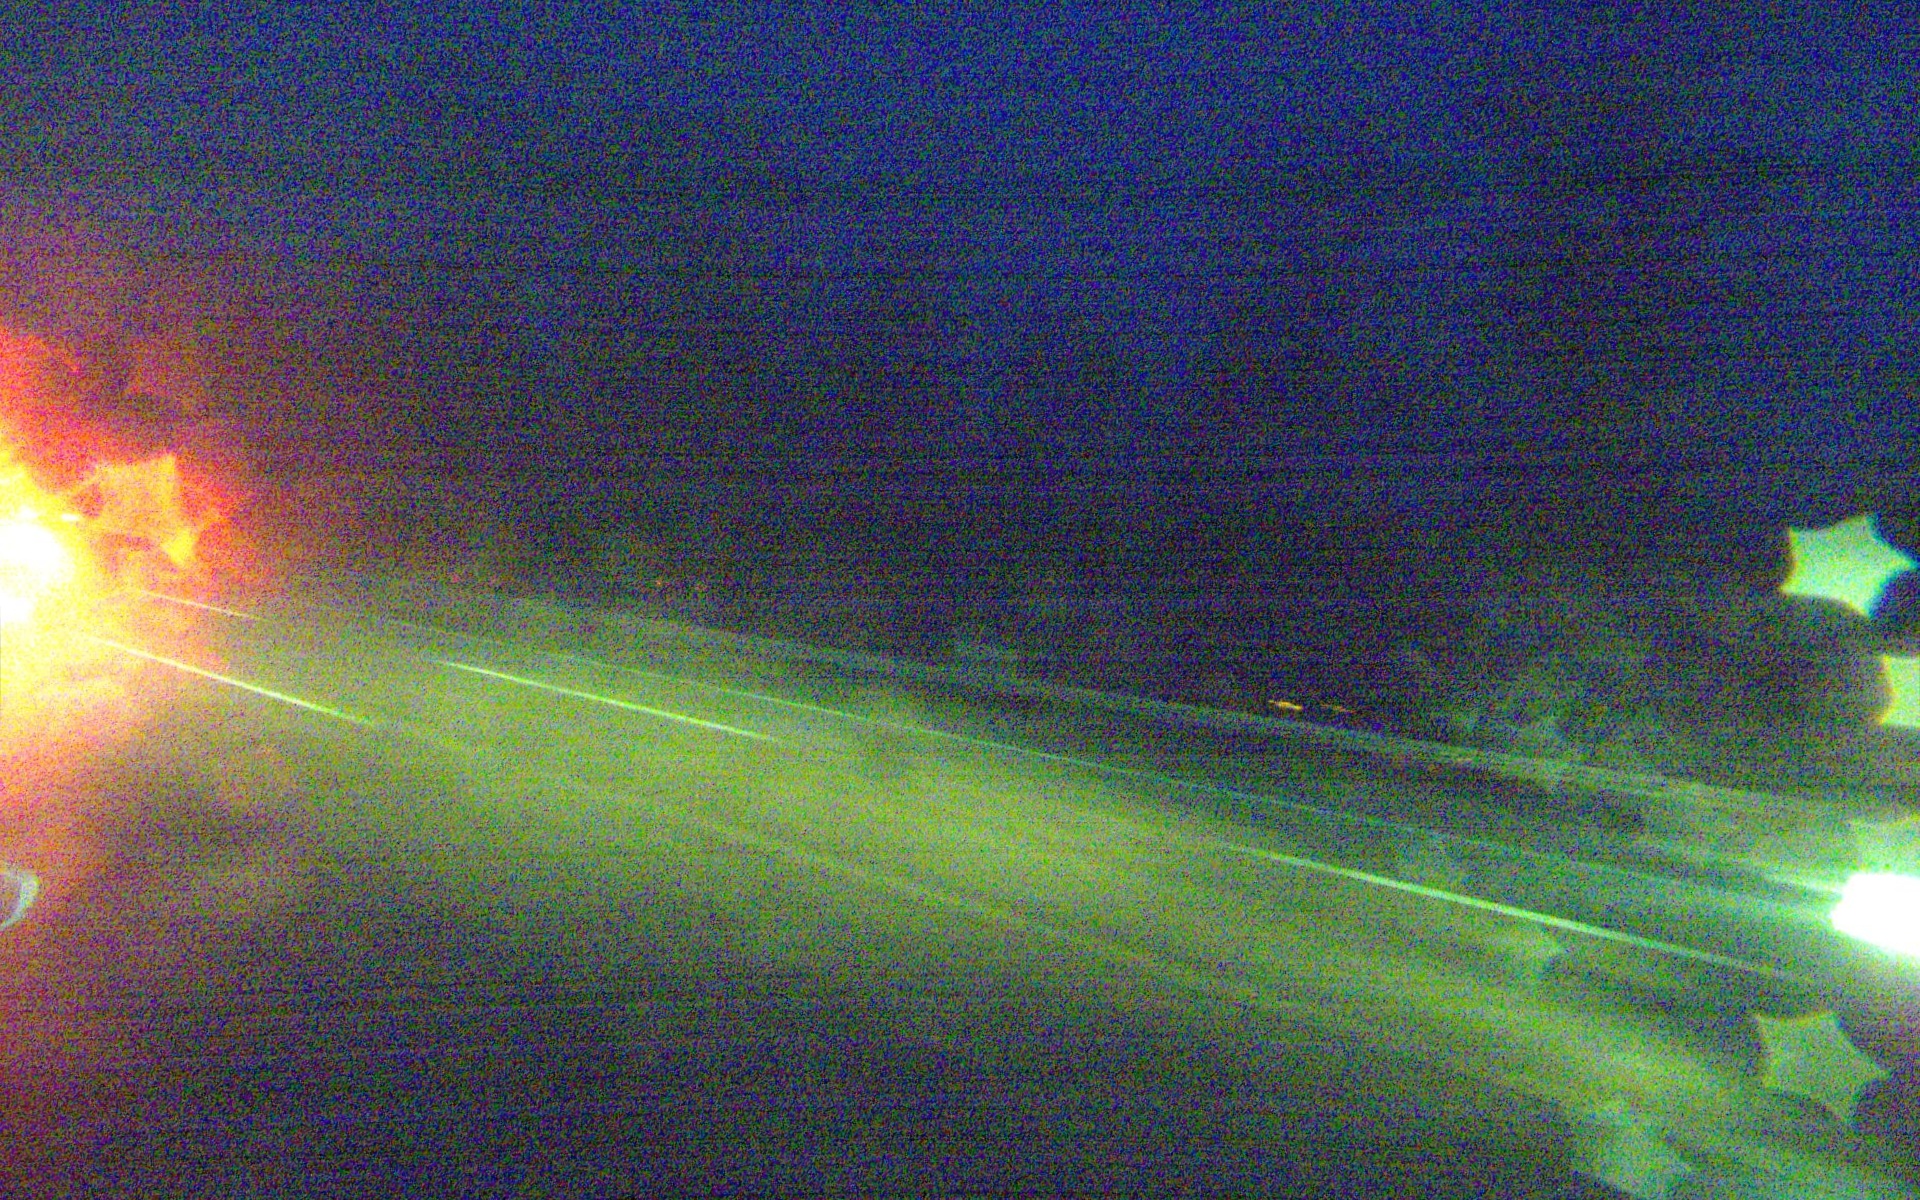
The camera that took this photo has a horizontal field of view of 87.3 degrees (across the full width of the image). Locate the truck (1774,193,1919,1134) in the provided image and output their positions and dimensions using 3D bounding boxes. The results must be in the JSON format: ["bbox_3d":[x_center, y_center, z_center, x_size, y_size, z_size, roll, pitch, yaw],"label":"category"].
[{"bbox_3d":[7.700,0.387,3.124,7.324,4.317,2.809,7,-1,32],"label":"truck"}]

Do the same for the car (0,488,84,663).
[{"bbox_3d":[-10.828,-0.472,10.085,3.934,1.607,1.888,7,-2,32],"label":"car"}]
